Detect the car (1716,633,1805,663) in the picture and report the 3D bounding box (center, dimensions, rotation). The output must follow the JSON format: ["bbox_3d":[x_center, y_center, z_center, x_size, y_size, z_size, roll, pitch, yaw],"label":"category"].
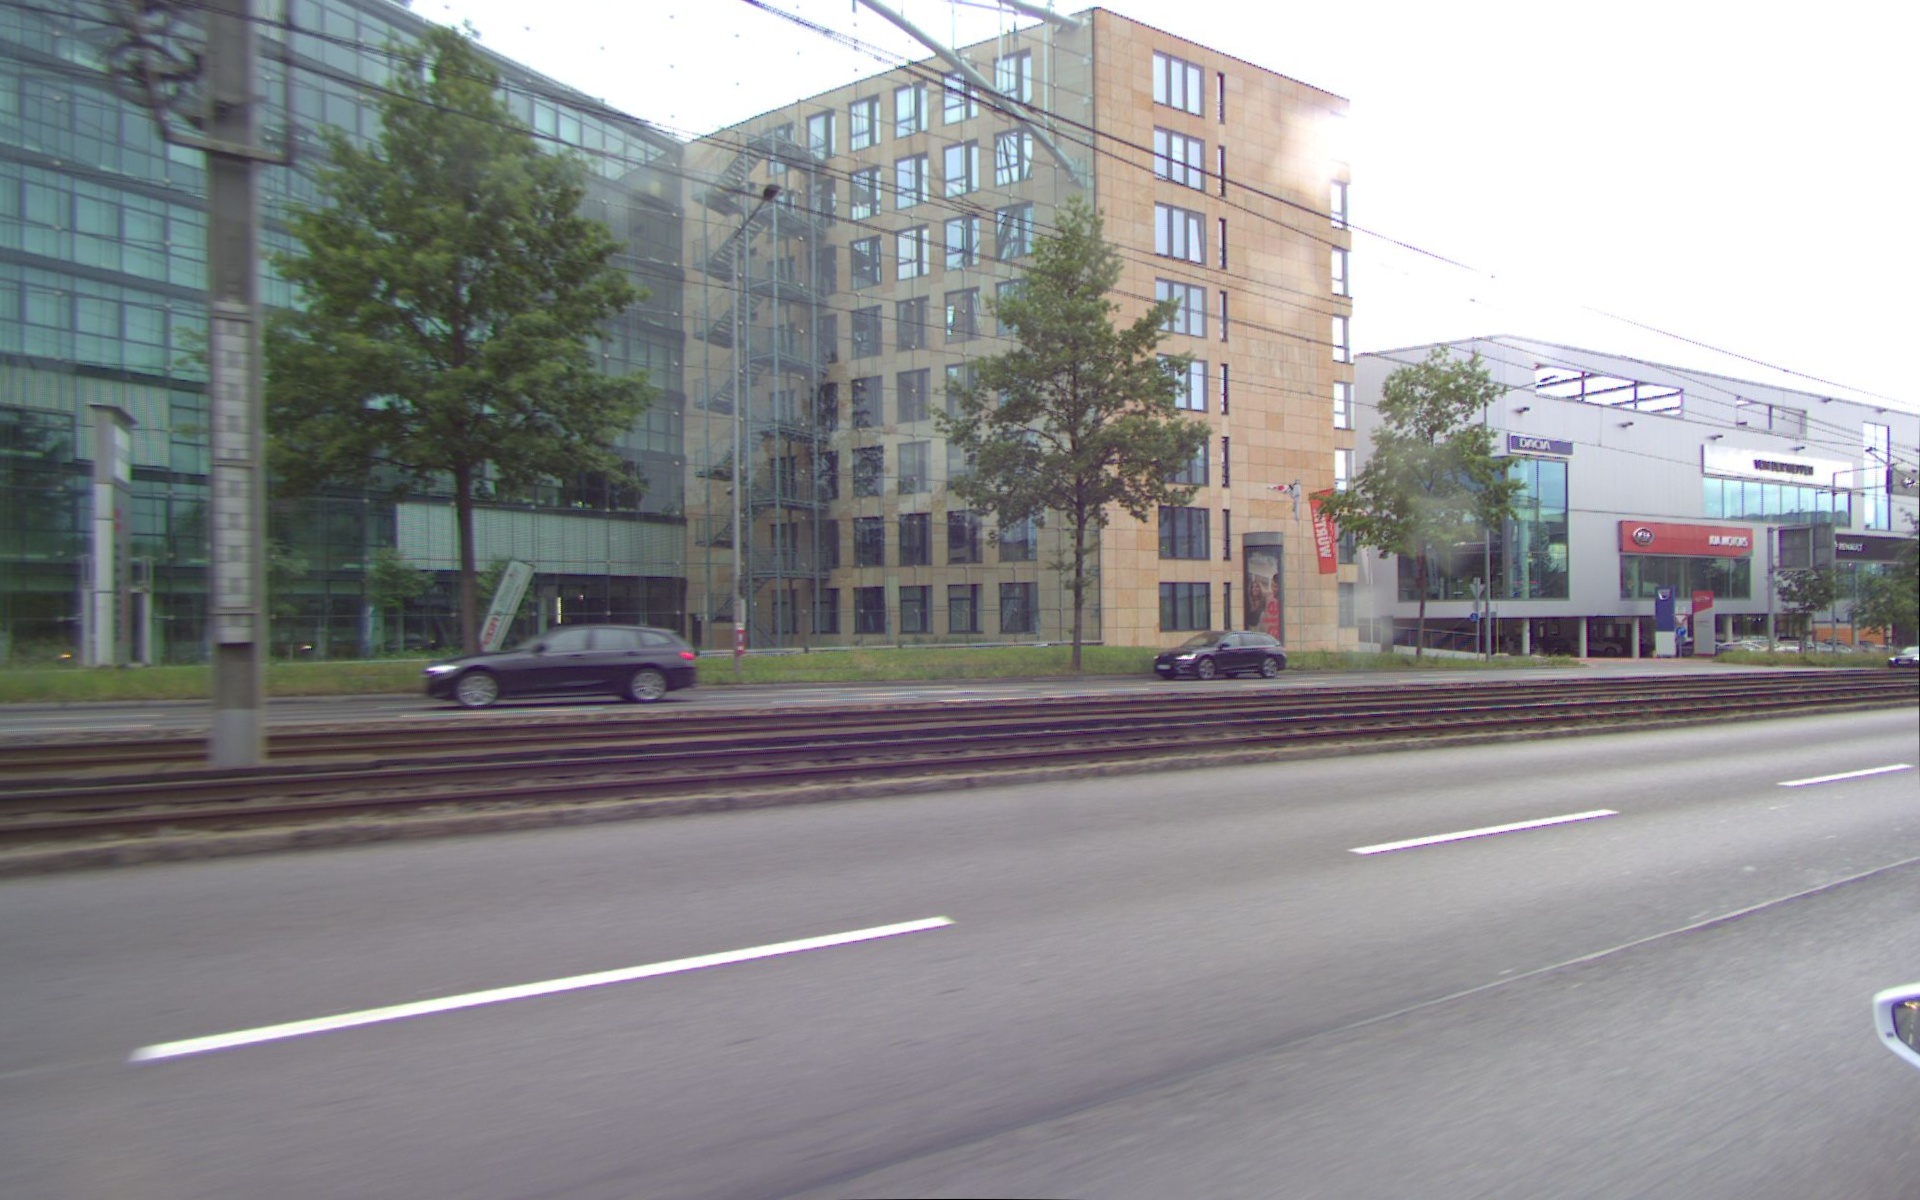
[{"bbox_3d":[54.901,3.267,68.934,4.575,1.851,2.008,0,-2,45],"label":"car"}]

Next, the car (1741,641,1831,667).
[{"bbox_3d":[60.082,3.905,73.109,4.950,1.675,2.008,0,-2,45],"label":"car"}]

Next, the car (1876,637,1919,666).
[{"bbox_3d":[54.287,2.970,57.302,4.185,1.481,1.661,3,-1,-28],"label":"car"}]

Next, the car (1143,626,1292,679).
[{"bbox_3d":[7.862,1.599,30.616,4.378,1.505,1.833,1,-4,-30],"label":"car"}]

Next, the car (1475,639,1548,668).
[{"bbox_3d":[36.916,3.583,67.239,4.882,1.748,1.984,2,0,-30],"label":"car"}]

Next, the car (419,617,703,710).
[{"bbox_3d":[-7.201,1.119,18.272,4.599,1.505,1.833,1,-4,-30],"label":"car"}]

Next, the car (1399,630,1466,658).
[{"bbox_3d":[33.741,3.136,71.659,4.885,1.815,1.983,2,0,-32],"label":"car"}]

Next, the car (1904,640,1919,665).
[{"bbox_3d":[81.591,4.430,83.243,1.998,2.002,4.577,3,-2,-31],"label":"car"}]
